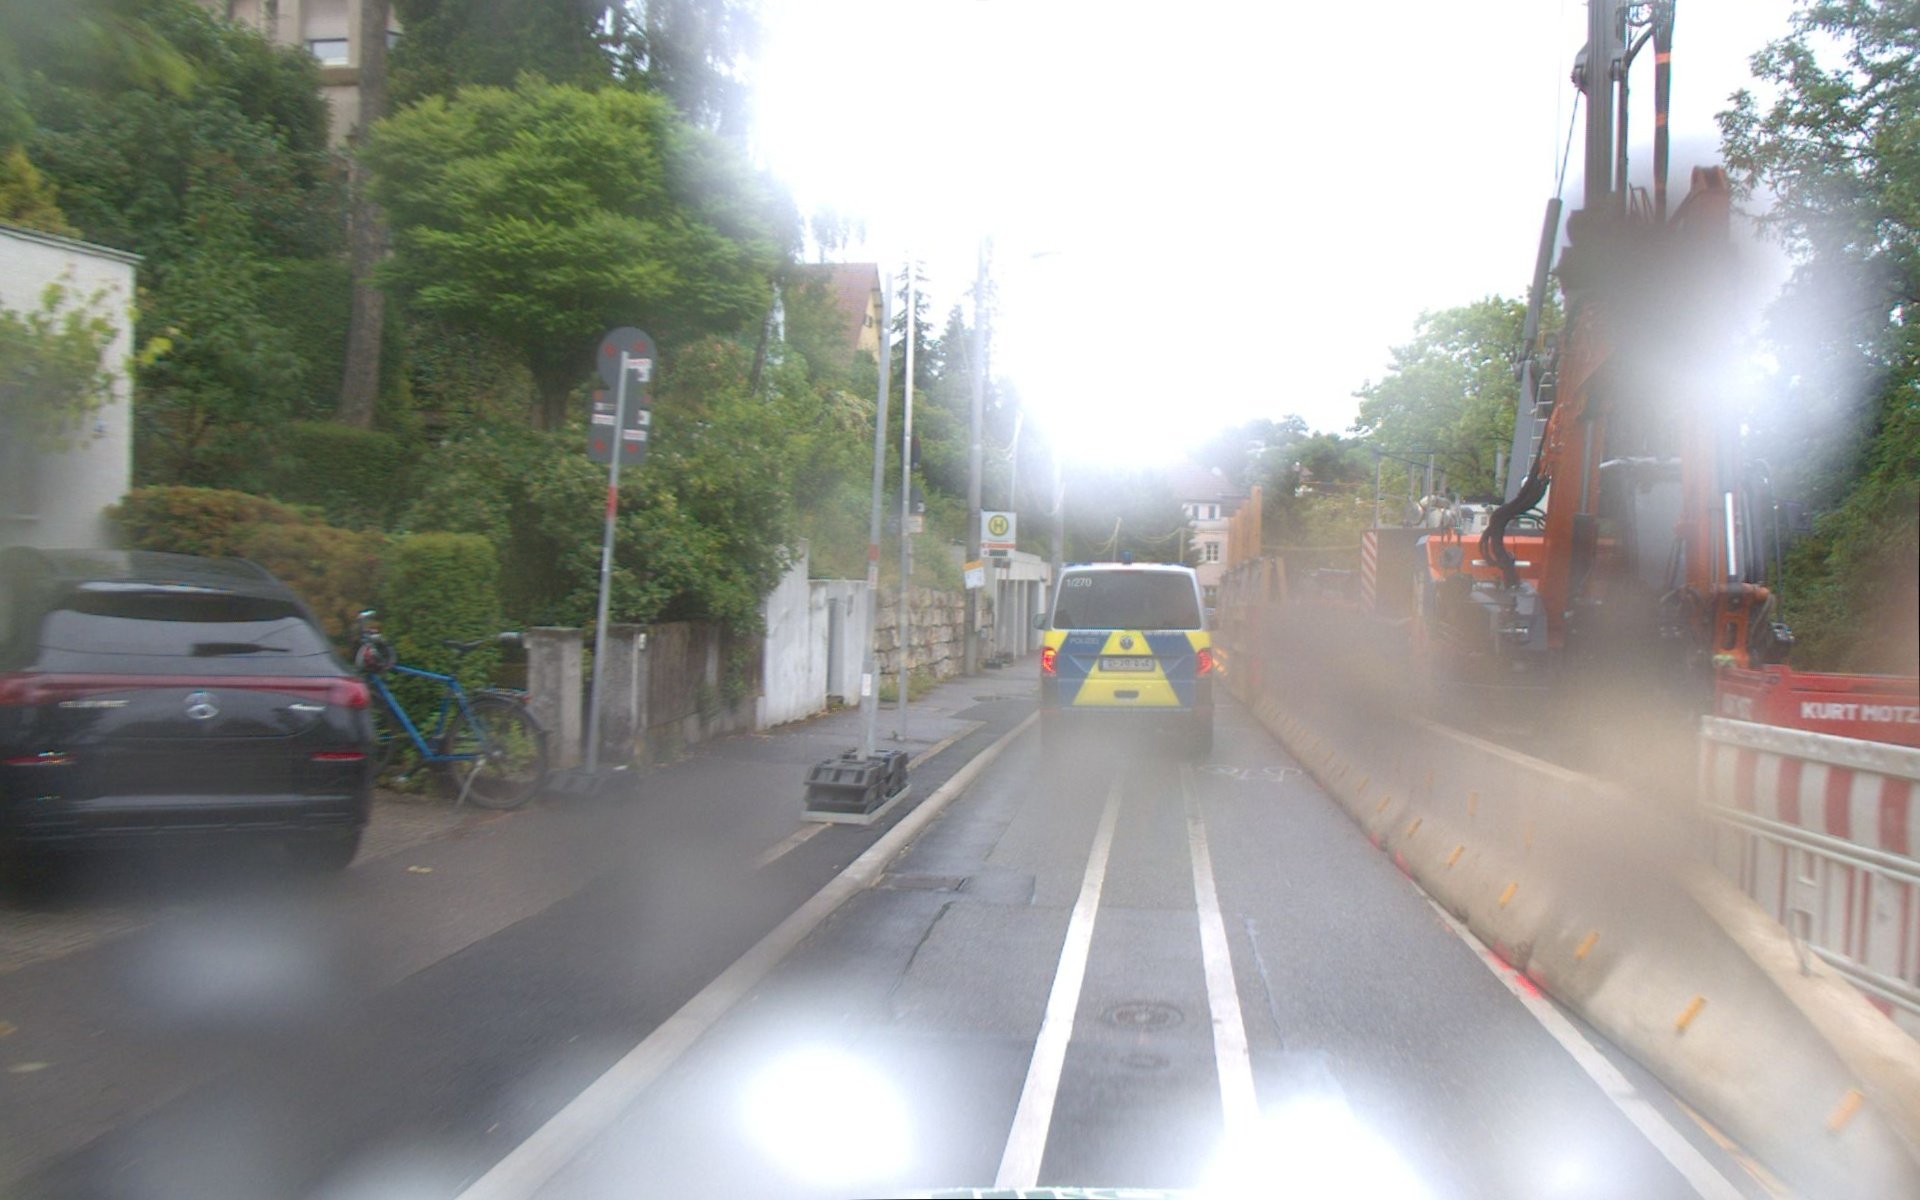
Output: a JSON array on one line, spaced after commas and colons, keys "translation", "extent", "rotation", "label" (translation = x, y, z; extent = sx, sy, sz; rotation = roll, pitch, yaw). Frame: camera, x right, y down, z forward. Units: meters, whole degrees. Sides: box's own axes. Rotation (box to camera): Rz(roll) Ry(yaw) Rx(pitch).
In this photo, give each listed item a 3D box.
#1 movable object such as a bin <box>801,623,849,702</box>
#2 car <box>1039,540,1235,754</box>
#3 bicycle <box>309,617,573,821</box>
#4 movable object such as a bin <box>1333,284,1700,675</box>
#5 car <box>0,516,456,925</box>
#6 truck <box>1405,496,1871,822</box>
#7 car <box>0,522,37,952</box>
[{"translation": [-1.740, 0.802, 21.374], "extent": [0.496, 0.982, 0.498], "rotation": [2, -1, 7], "label": "movable object such as a bin"}, {"translation": [2.008, 0.502, 18.714], "extent": [1.867, 2.045, 4.442], "rotation": [2, -1, 6], "label": "car"}, {"translation": [-3.249, 0.716, 10.339], "extent": [1.585, 1.151, 0.443], "rotation": [2, -1, 20], "label": "bicycle"}, {"translation": [8.879, -1.519, 25.730], "extent": [3.619, 5.155, 7.138], "rotation": [0, -1, 35], "label": "movable object such as a bin"}, {"translation": [-4.110, 0.448, 8.385], "extent": [1.766, 1.552, 3.950], "rotation": [3, -1, -35], "label": "car"}, {"translation": [4.944, 0.408, 12.674], "extent": [2.496, 2.145, 3.306], "rotation": [0, -1, 6], "label": "truck"}, {"translation": [-5.557, 0.397, 5.665], "extent": [3.903, 1.552, 1.942], "rotation": [2, -1, 16], "label": "car"}]
